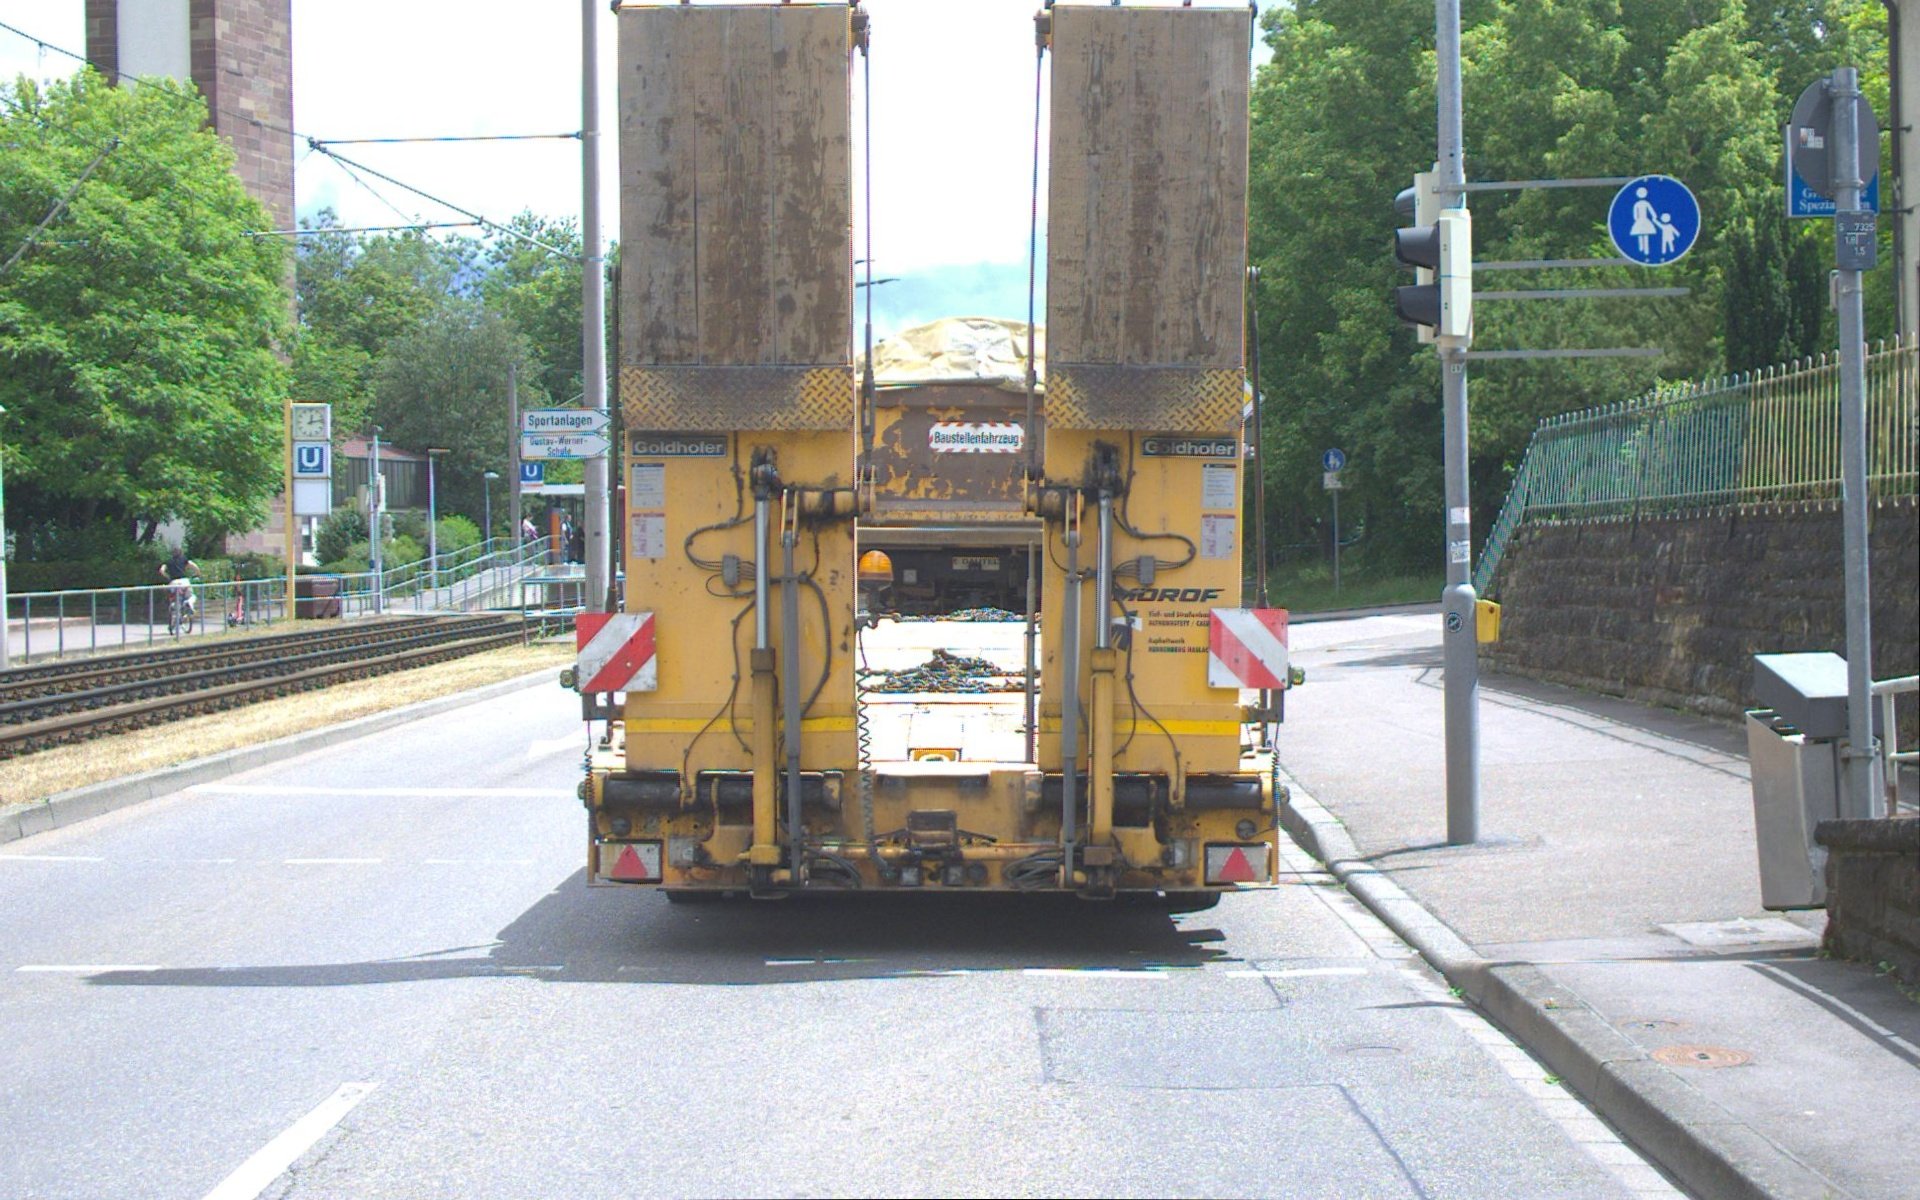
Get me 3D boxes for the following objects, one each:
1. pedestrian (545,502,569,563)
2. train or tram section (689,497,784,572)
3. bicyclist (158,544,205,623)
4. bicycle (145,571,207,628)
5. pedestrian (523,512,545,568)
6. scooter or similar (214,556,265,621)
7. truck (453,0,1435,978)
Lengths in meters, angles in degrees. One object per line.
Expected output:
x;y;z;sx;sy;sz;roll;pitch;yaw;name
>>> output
-13.515;-2.256;115.316;0.712;2.007;0.732;1;1;-1;pedestrian
-10.963;-3.172;170.451;3.108;3.453;18.826;1;1;1;train or tram section
-14.175;-0.309;62.633;0.633;1.424;0.790;1;1;1;bicyclist
-14.184;-0.016;62.249;0.637;0.990;1.928;1;1;1;bicycle
-13.644;-1.907;110.031;0.584;1.771;0.576;1;1;1;pedestrian
-14.205;-0.234;67.811;0.649;1.233;1.401;1;1;2;scooter or similar
-0.200;-0.642;18.852;3.402;3.719;13.739;0;1;-1;truck
